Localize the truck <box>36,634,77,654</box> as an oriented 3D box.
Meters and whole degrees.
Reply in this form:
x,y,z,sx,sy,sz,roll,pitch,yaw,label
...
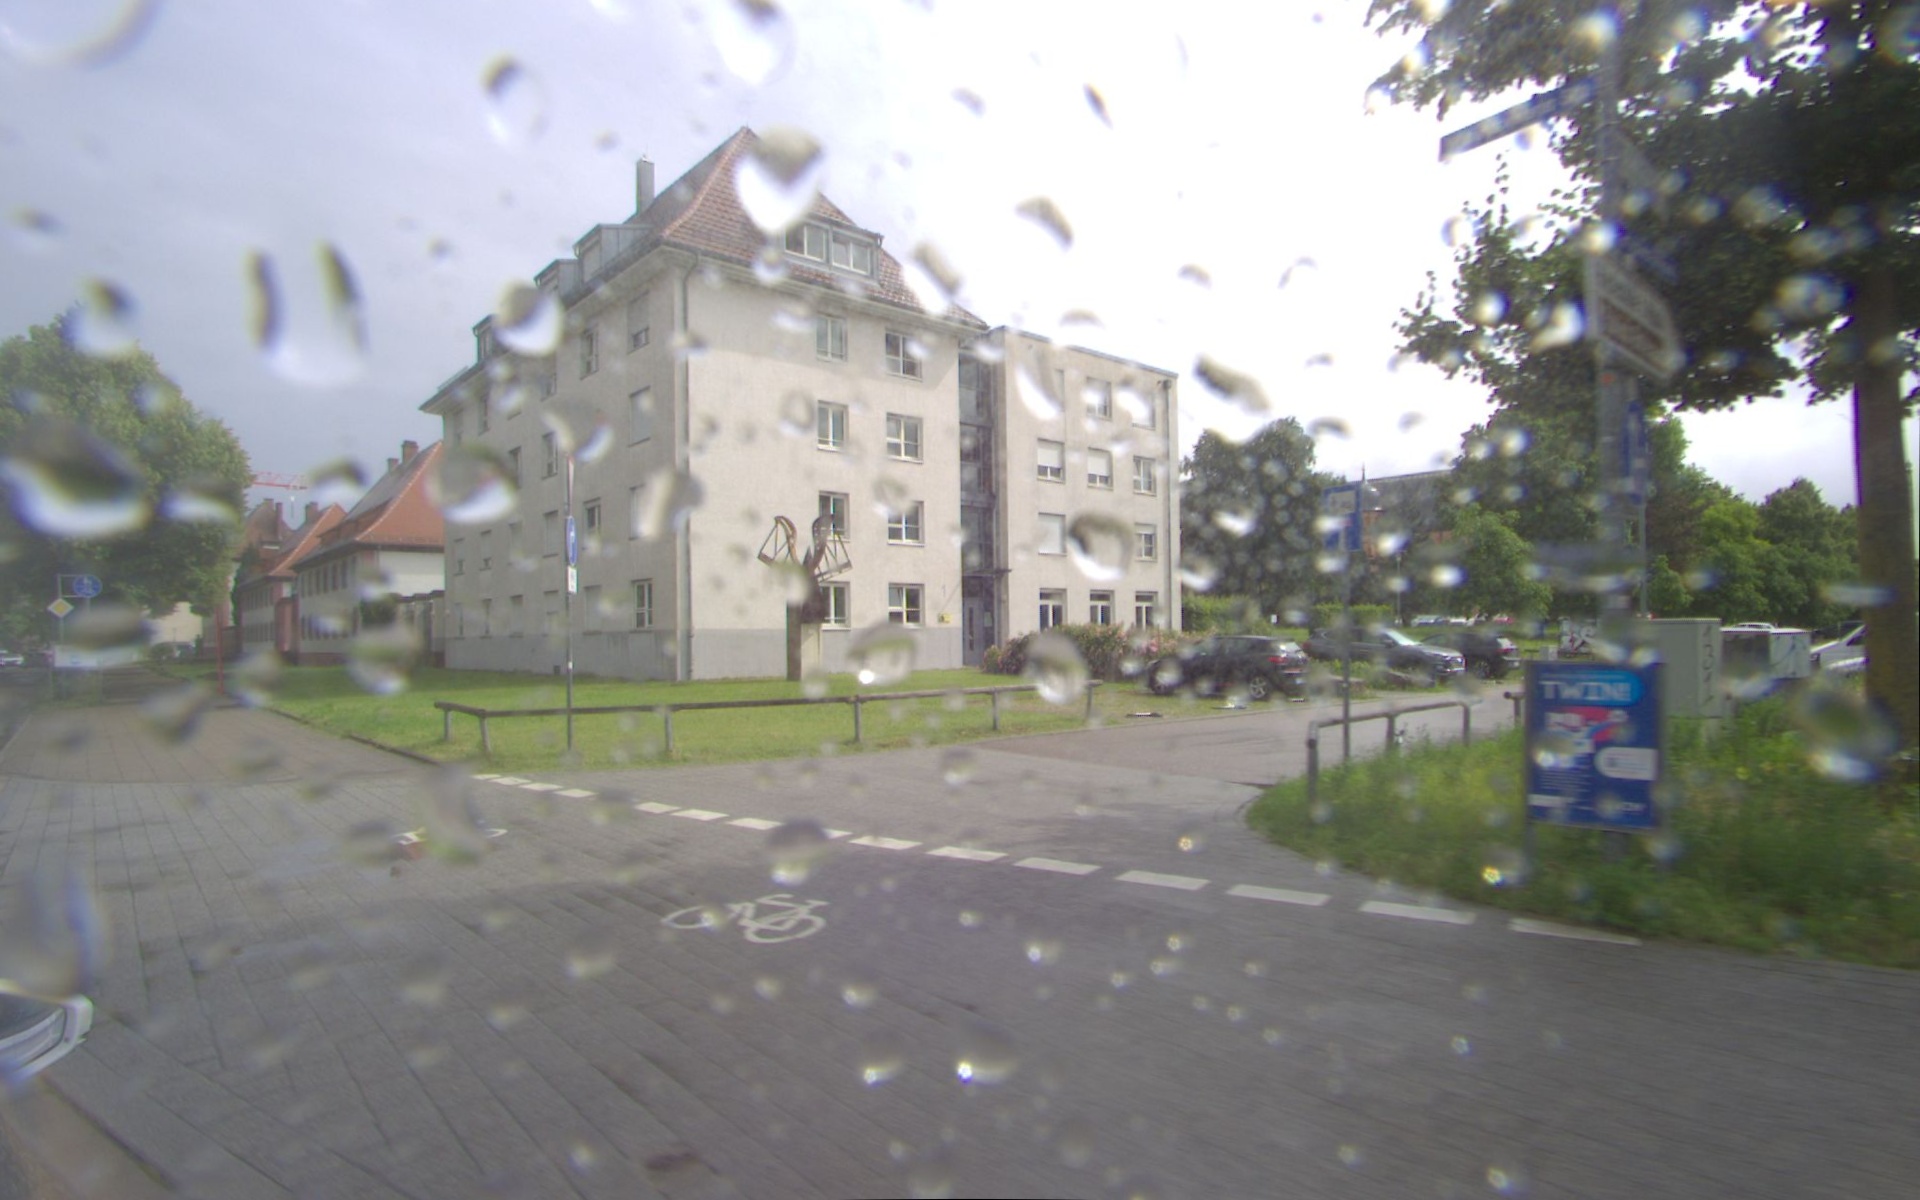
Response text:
x,y,z,sx,sy,sz,roll,pitch,yaw,label
-125.783,6.148,139.363,8.137,2.690,2.796,-2,-2,38,truck

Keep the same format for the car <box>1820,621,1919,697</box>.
x,y,z,sx,sy,sz,roll,pitch,yaw,label
20.827,1.218,21.054,1.916,1.568,3.964,0,-2,-43,car

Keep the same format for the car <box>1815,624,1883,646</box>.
x,y,z,sx,sy,sz,roll,pitch,yaw,label
79.480,3.129,89.567,1.916,1.873,4.352,0,-2,-43,car

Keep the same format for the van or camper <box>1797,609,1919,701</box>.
x,y,z,sx,sy,sz,roll,pitch,yaw,label
23.536,1.289,23.595,1.979,2.131,5.630,1,-2,-41,van or camper

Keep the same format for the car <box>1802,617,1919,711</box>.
x,y,z,sx,sy,sz,roll,pitch,yaw,label
17.027,1.072,17.176,1.916,1.568,3.737,0,-2,-43,car

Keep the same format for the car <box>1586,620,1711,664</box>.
x,y,z,sx,sy,sz,roll,pitch,yaw,label
31.091,1.900,45.290,1.916,1.873,4.352,0,-2,-43,car

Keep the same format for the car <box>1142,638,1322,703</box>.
x,y,z,sx,sy,sz,roll,pitch,yaw,label
6.157,1.564,22.974,1.377,1.342,3.840,0,-2,-43,car

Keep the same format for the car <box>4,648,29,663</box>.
x,y,z,sx,sy,sz,roll,pitch,yaw,label
-110.326,6.493,117.135,1.872,1.735,4.194,0,-2,-41,car

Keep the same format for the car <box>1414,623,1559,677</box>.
x,y,z,sx,sy,sz,roll,pitch,yaw,label
17.462,1.645,33.311,1.599,1.684,3.965,0,-2,-43,car

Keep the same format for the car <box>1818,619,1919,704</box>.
x,y,z,sx,sy,sz,roll,pitch,yaw,label
18.952,1.137,18.911,1.916,1.568,3.964,0,-2,-43,car

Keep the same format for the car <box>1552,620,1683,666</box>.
x,y,z,sx,sy,sz,roll,pitch,yaw,label
28.042,1.828,42.813,1.916,1.873,4.352,0,-2,-43,car

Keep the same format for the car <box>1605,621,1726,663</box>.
x,y,z,sx,sy,sz,roll,pitch,yaw,label
33.316,1.974,47.369,1.916,1.873,4.352,0,-2,-43,car

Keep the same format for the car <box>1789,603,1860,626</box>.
x,y,z,sx,sy,sz,roll,pitch,yaw,label
72.983,1.243,84.532,1.916,1.873,4.352,0,-2,-43,car

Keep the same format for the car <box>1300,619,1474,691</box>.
x,y,z,sx,sy,sz,roll,pitch,yaw,label
12.004,1.519,28.315,1.916,1.873,4.095,0,-2,-43,car

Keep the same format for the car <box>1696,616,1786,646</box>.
x,y,z,sx,sy,sz,roll,pitch,yaw,label
50.609,2.050,64.967,1.916,1.873,4.352,0,-2,-43,car

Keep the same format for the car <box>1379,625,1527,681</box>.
x,y,z,sx,sy,sz,roll,pitch,yaw,label
15.849,1.676,32.316,1.599,1.684,3.965,0,-2,-43,car

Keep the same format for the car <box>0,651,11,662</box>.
x,y,z,sx,sy,sz,roll,pitch,yaw,label
-149.646,8.856,156.267,1.575,1.532,3.707,-3,0,-35,car
